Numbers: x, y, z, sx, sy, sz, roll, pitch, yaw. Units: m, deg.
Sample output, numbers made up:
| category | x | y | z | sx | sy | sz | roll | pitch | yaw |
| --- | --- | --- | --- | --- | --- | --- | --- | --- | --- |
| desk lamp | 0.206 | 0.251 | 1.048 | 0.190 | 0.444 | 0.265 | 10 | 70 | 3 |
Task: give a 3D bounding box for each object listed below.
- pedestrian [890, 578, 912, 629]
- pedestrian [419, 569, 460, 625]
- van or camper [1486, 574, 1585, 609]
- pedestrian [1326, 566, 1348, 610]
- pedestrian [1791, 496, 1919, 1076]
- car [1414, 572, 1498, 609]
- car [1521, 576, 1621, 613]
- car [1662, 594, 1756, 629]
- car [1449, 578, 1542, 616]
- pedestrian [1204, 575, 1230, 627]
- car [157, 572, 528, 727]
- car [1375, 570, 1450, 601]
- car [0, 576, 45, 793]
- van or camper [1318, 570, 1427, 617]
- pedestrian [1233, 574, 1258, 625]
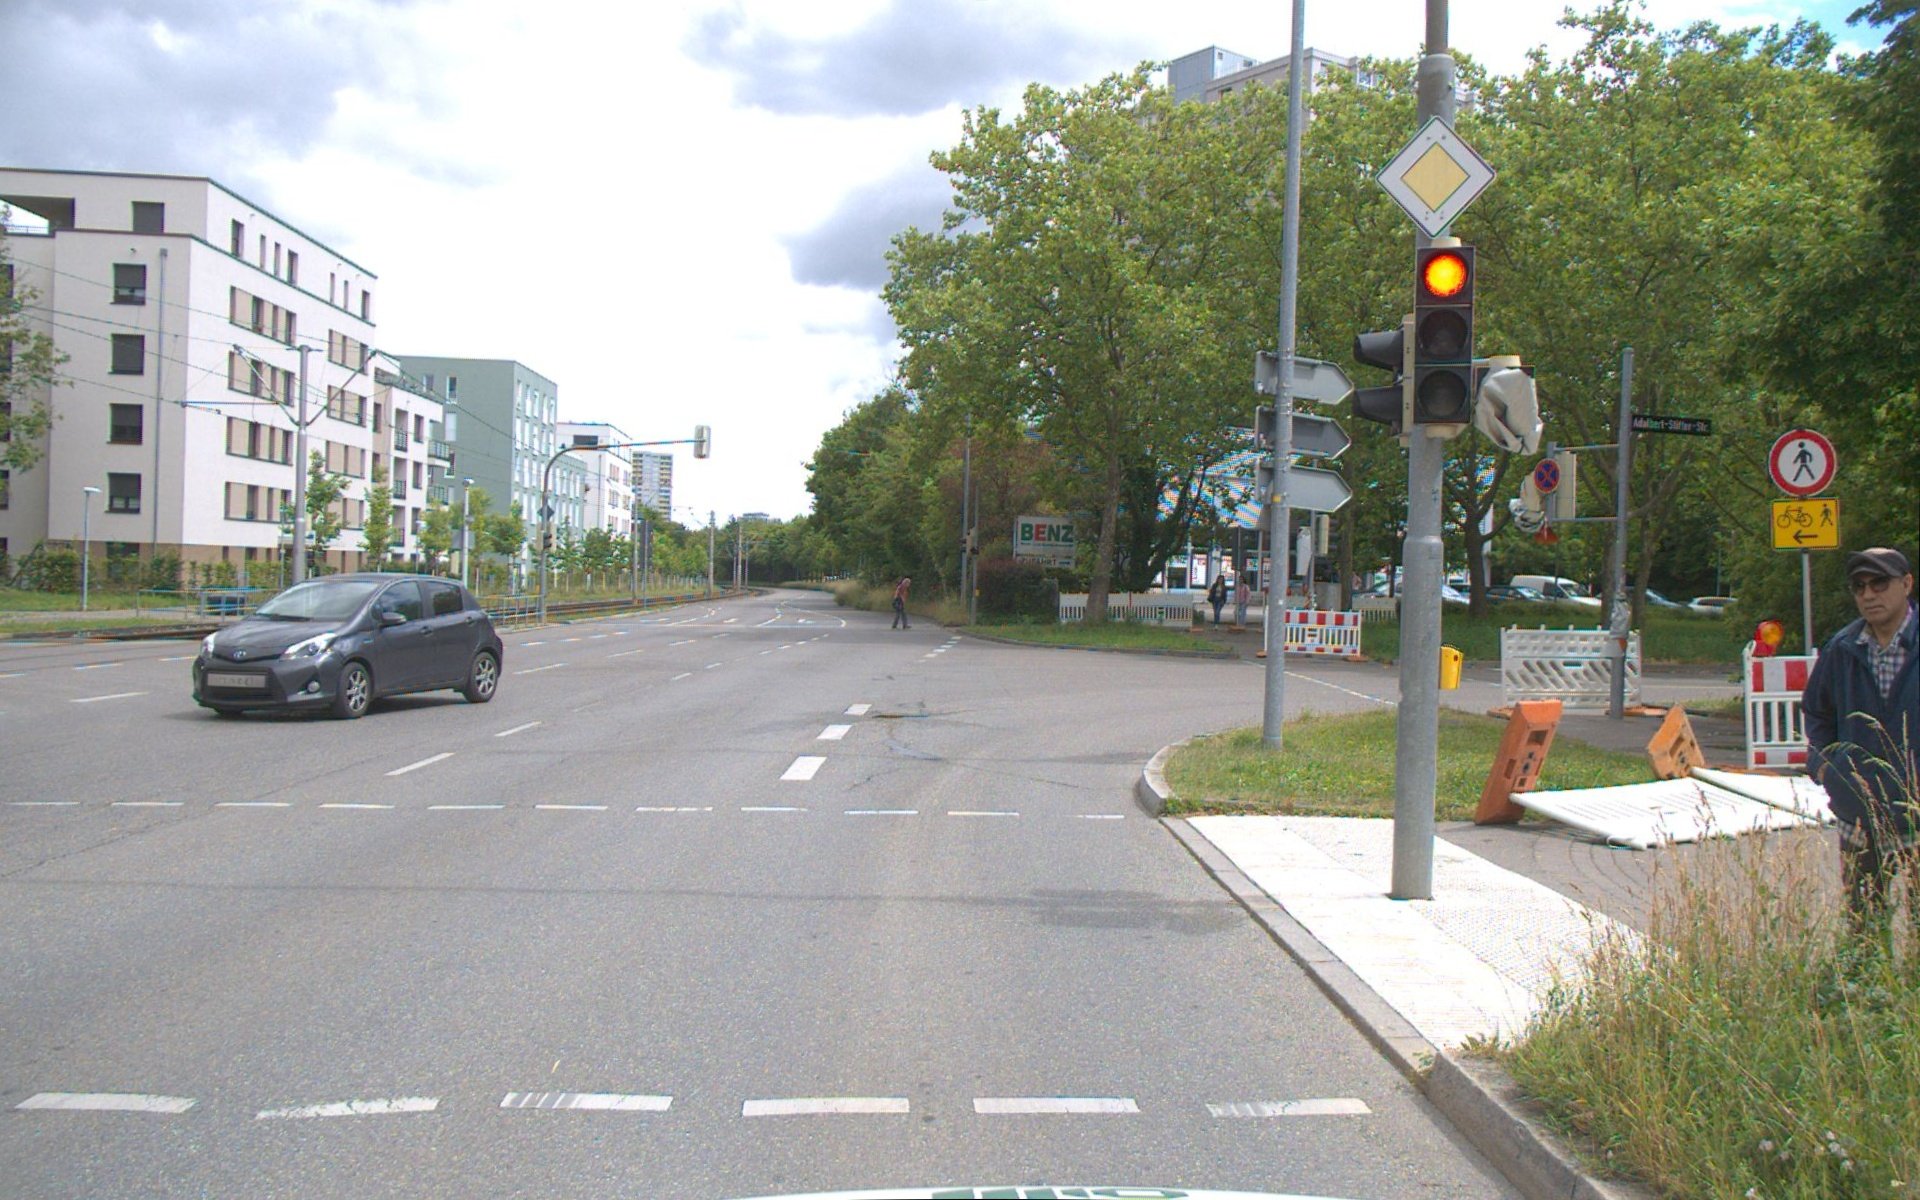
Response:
| category | x | y | z | sx | sy | sz | roll | pitch | yaw |
| --- | --- | --- | --- | --- | --- | --- | --- | --- | --- |
| pedestrian | -1.847 | 0.116 | 51.917 | 0.640 | 1.565 | 0.772 | 1 | -1 | -1 |
| pedestrian | -15.244 | -0.093 | 48.451 | 0.776 | 1.614 | 0.852 | 1 | -1 | 13 |
| van or camper | 23.592 | -0.337 | 67.877 | 1.499 | 1.380 | 3.732 | 1 | 0 | -33 |
| pedestrian | 17.722 | -0.565 | 77.799 | 0.789 | 2.037 | 0.852 | 1 | -1 | -5 |
| pedestrian | 3.187 | 0.568 | 5.453 | 0.712 | 1.770 | 0.954 | 1 | 0 | 31 |
| car | 24.052 | -0.496 | 80.245 | 1.650 | 1.663 | 3.783 | 1 | 1 | -30 |
| car | 25.539 | -0.246 | 69.243 | 1.465 | 1.491 | 3.851 | 1 | 0 | -31 |
| car | 34.179 | 0.518 | 75.537 | 1.708 | 1.526 | 3.712 | 1 | 0 | -27 |
| car | 21.094 | -0.117 | 65.247 | 1.464 | 1.429 | 3.375 | 1 | 0 | -30 |
| pedestrian | 7.651 | 0.036 | 49.199 | 0.702 | 1.515 | 0.700 | 1 | -1 | 14 |
| car | -6.696 | 0.467 | 18.422 | 1.740 | 1.495 | 4.046 | 1 | 1 | 18 |
| car | 21.467 | -0.684 | 78.547 | 1.465 | 1.429 | 3.372 | 1 | 0 | -31 |
| car | -7.443 | 0.576 | 9.583 | 1.725 | 1.466 | 4.280 | 1 | 1 | 3 |
| van or camper | 15.487 | -0.254 | 62.227 | 1.819 | 1.713 | 3.964 | 0 | 1 | -28 |
| pedestrian | 8.481 | -0.017 | 49.123 | 0.671 | 1.515 | 0.700 | 1 | -1 | 14 |
